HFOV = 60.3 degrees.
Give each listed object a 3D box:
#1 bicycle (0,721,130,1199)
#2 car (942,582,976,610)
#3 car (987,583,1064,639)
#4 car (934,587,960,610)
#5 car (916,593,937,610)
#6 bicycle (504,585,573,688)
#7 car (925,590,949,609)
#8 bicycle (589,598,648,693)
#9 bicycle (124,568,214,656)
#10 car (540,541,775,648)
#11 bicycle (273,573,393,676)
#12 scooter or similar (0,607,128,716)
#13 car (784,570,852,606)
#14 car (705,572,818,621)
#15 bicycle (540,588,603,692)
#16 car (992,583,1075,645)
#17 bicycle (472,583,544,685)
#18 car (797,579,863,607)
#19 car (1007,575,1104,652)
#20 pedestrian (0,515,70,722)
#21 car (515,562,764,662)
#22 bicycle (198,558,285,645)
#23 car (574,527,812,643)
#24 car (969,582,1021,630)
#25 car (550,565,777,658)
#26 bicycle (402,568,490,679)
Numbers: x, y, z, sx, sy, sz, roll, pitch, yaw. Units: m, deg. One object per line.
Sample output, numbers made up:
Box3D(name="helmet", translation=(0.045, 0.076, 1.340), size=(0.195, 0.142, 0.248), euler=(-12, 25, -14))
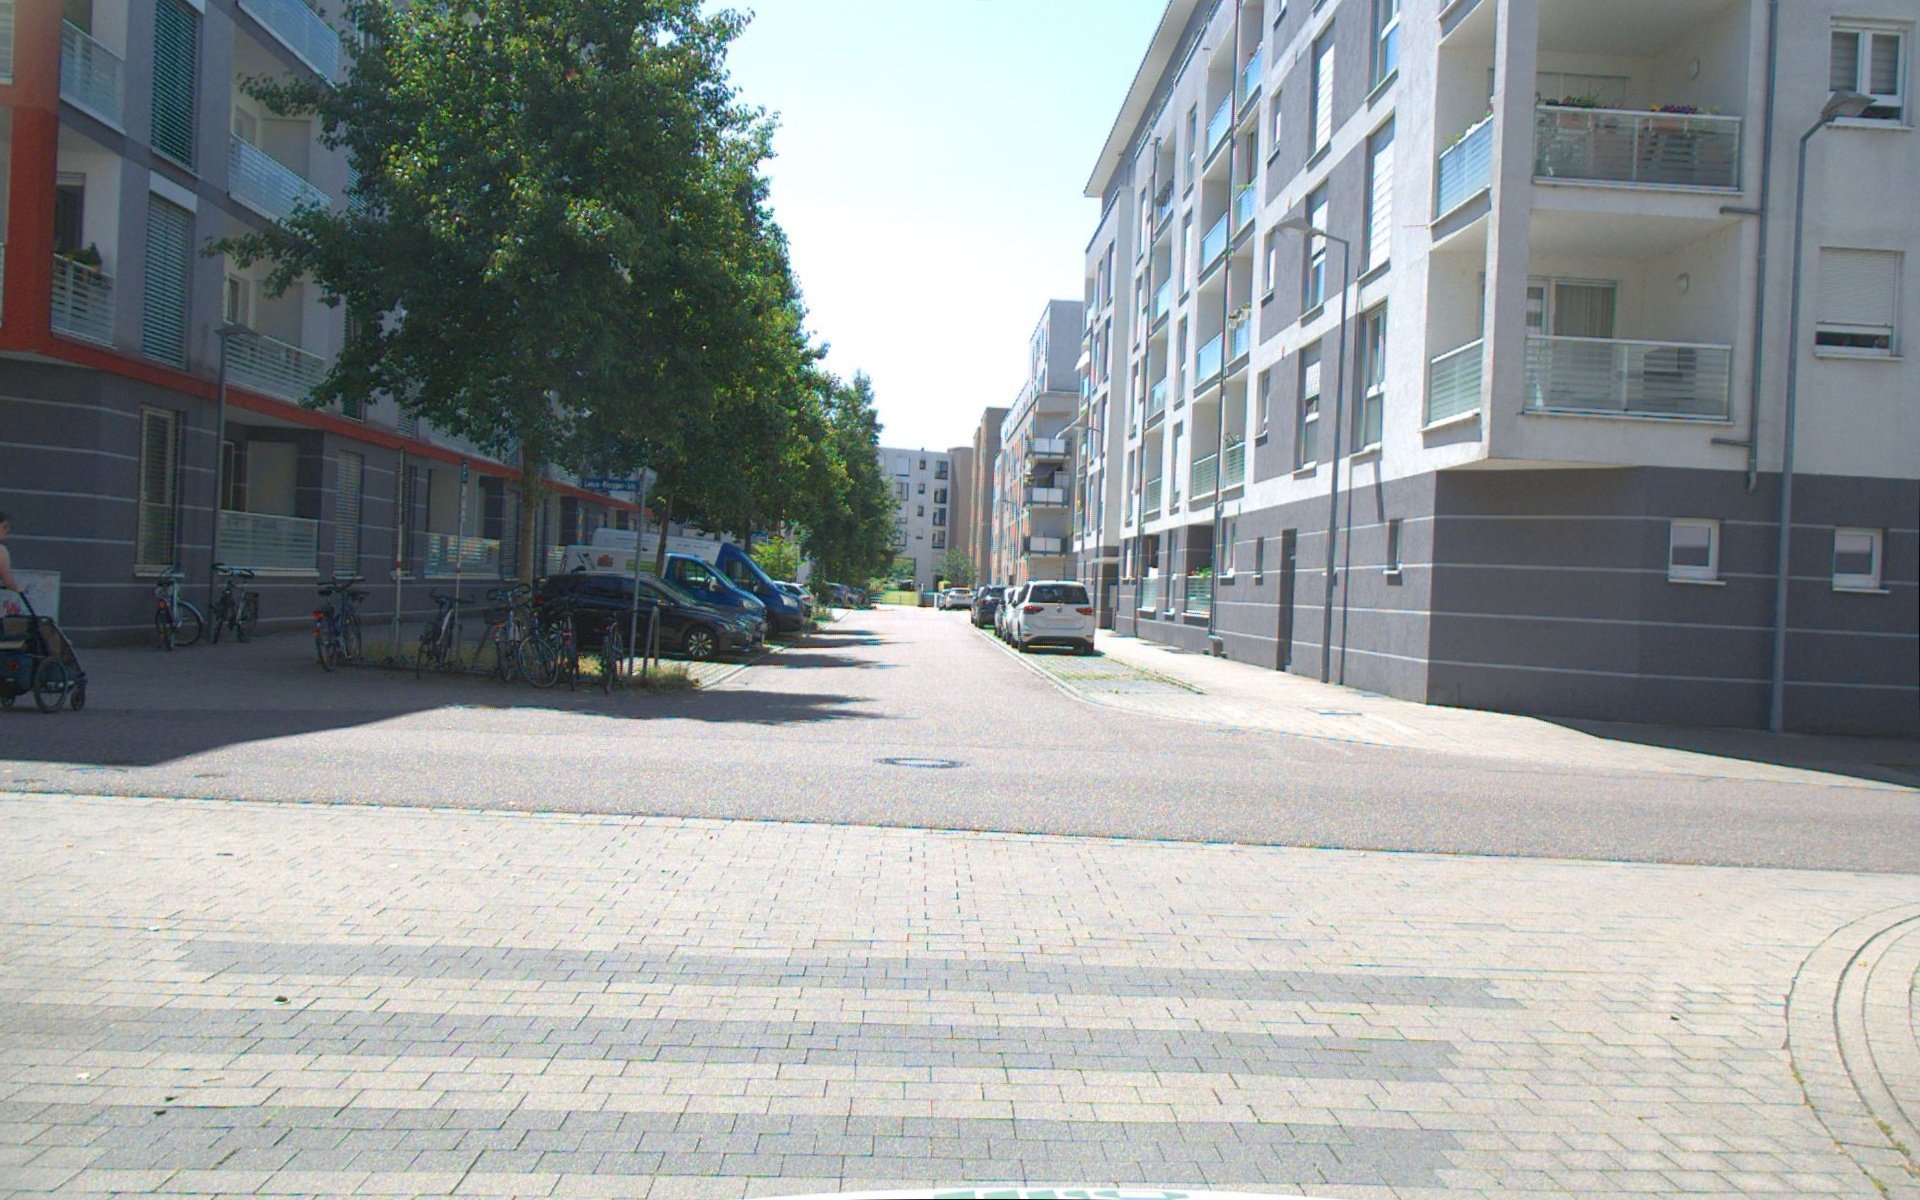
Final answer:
Box3D(name="bicycle", translation=(-2.185, 0.835, 2.483), size=(0.880, 1.148, 2.039), euler=(2, 0, -2))
Box3D(name="car", translation=(-0.109, -0.298, 107.725), size=(1.954, 1.704, 3.998), euler=(2, 0, -3))
Box3D(name="car", translation=(1.920, 0.300, 49.646), size=(1.954, 1.551, 3.998), euler=(2, 0, -3))
Box3D(name="car", translation=(-1.083, -0.152, 134.928), size=(1.954, 1.747, 3.998), euler=(2, 0, -3))
Box3D(name="car", translation=(-3.427, 0.141, 170.174), size=(1.953, 1.545, 4.000), euler=(2, 0, 0))
Box3D(name="bicycle", translation=(-5.474, 0.448, 21.548), size=(0.425, 1.224, 1.699), euler=(4, 1, -1))
Box3D(name="car", translation=(-2.097, -0.048, 148.962), size=(1.954, 1.545, 3.998), euler=(2, 0, -3))
Box3D(name="bicycle", translation=(-4.480, 0.570, 21.795), size=(0.456, 1.161, 1.925), euler=(2, 0, -4))
Box3D(name="bicycle", translation=(-10.786, 0.147, 22.618), size=(0.596, 1.126, 2.100), euler=(2, 0, -12))
Box3D(name="car", translation=(-7.007, -0.137, 38.799), size=(5.042, 2.156, 2.311), euler=(3, 1, -2))
Box3D(name="bicycle", translation=(-8.047, 0.284, 21.338), size=(0.675, 1.190, 2.222), euler=(4, 1, -1))
Box3D(name="scooter or similar", translation=(-8.359, 0.541, 15.036), size=(1.046, 0.904, 1.018), euler=(2, 0, -1))
Box3D(name="car", translation=(-8.819, -0.750, 103.025), size=(3.903, 2.049, 2.001), euler=(2, 0, 5))
Box3D(name="car", translation=(-7.342, -0.127, 61.428), size=(3.905, 1.646, 2.000), euler=(2, 0, 0))
Box3D(name="bicycle", translation=(-5.050, 0.496, 21.556), size=(0.560, 1.194, 1.765), euler=(5, 1, -9))
Box3D(name="car", translation=(1.951, 0.342, 44.817), size=(1.953, 1.551, 3.999), euler=(2, 0, -1))
Box3D(name="bicycle", translation=(-5.936, 0.417, 21.785), size=(0.508, 1.224, 1.751), euler=(4, 1, -4))
Box3D(name="car", translation=(-8.286, -0.461, 105.640), size=(3.903, 1.630, 2.001), euler=(2, 0, 4))
Box3D(name="car", translation=(2.202, 0.284, 39.123), size=(1.957, 1.686, 4.114), euler=(2, 0, -1))
Box3D(name="pedestrian", translation=(-8.357, 0.138, 14.161), size=(0.980, 1.720, 0.832), euler=(2, 0, -1))
Box3D(name="car", translation=(-6.053, 0.213, 31.645), size=(4.295, 1.541, 2.074), euler=(4, 0, -2))
Box3D(name="bicycle", translation=(-10.939, 0.012, 25.240), size=(0.540, 1.261, 1.924), euler=(1, 0, -2))
Box3D(name="car", translation=(-7.037, -0.395, 44.229), size=(5.902, 2.865, 2.604), euler=(2, 0, -2))
Box3D(name="car", translation=(1.251, 0.180, 59.206), size=(1.721, 1.579, 4.001), euler=(3, 0, 1))
Box3D(name="car", translation=(-6.059, 0.219, 34.197), size=(4.295, 1.568, 1.878), euler=(4, 0, -2))
Box3D(name="bicycle", translation=(-6.676, 0.281, 21.551), size=(0.581, 1.354, 1.812), euler=(2, 1, -1))
